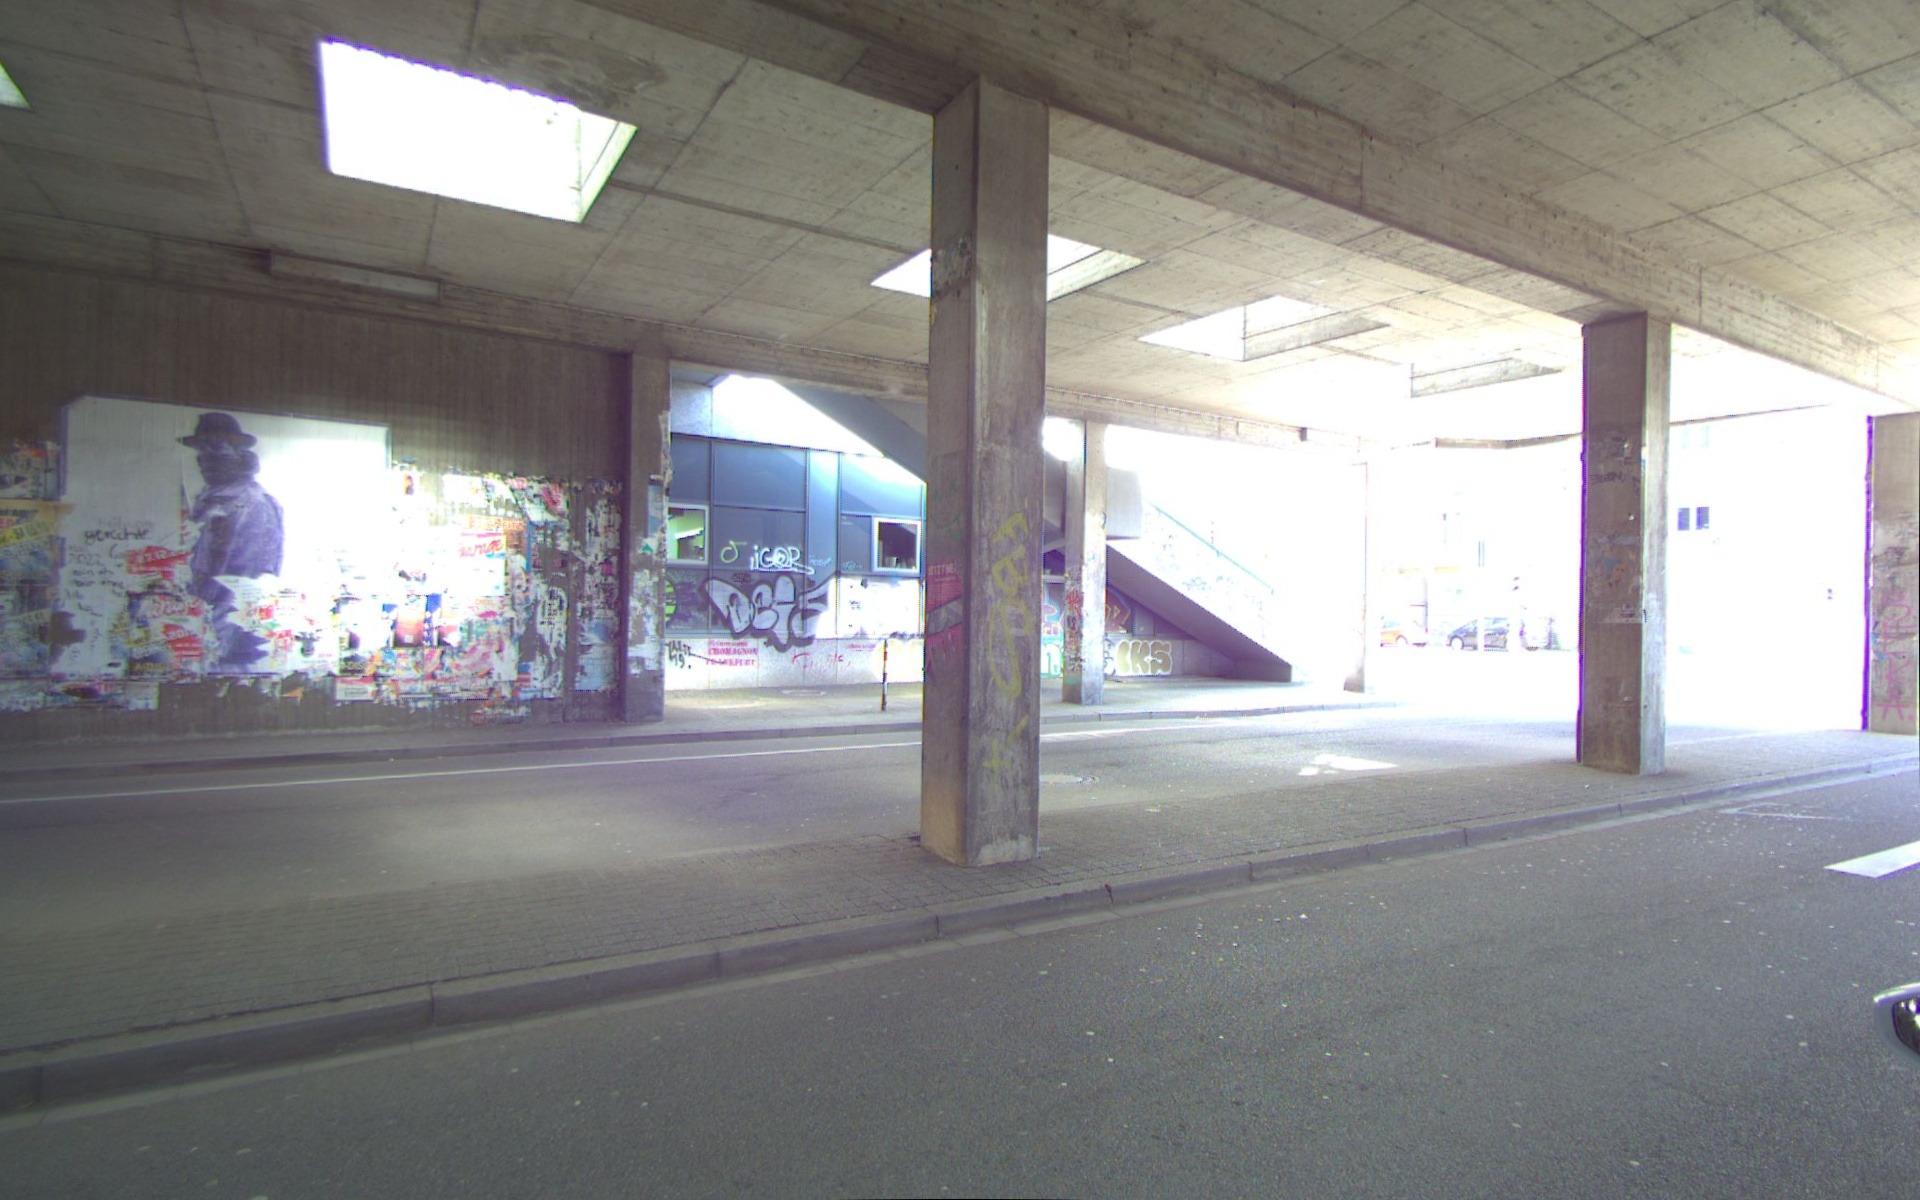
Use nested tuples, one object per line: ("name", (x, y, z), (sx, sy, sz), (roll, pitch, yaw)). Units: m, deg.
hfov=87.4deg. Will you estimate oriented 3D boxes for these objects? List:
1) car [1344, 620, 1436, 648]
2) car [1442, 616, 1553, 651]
("car", (22.504, 1.751, 52.675), (2.163, 1.392, 3.971), (1, -1, -28))
("car", (25.425, 1.565, 47.664), (2.240, 1.571, 4.111), (1, -1, -29))
